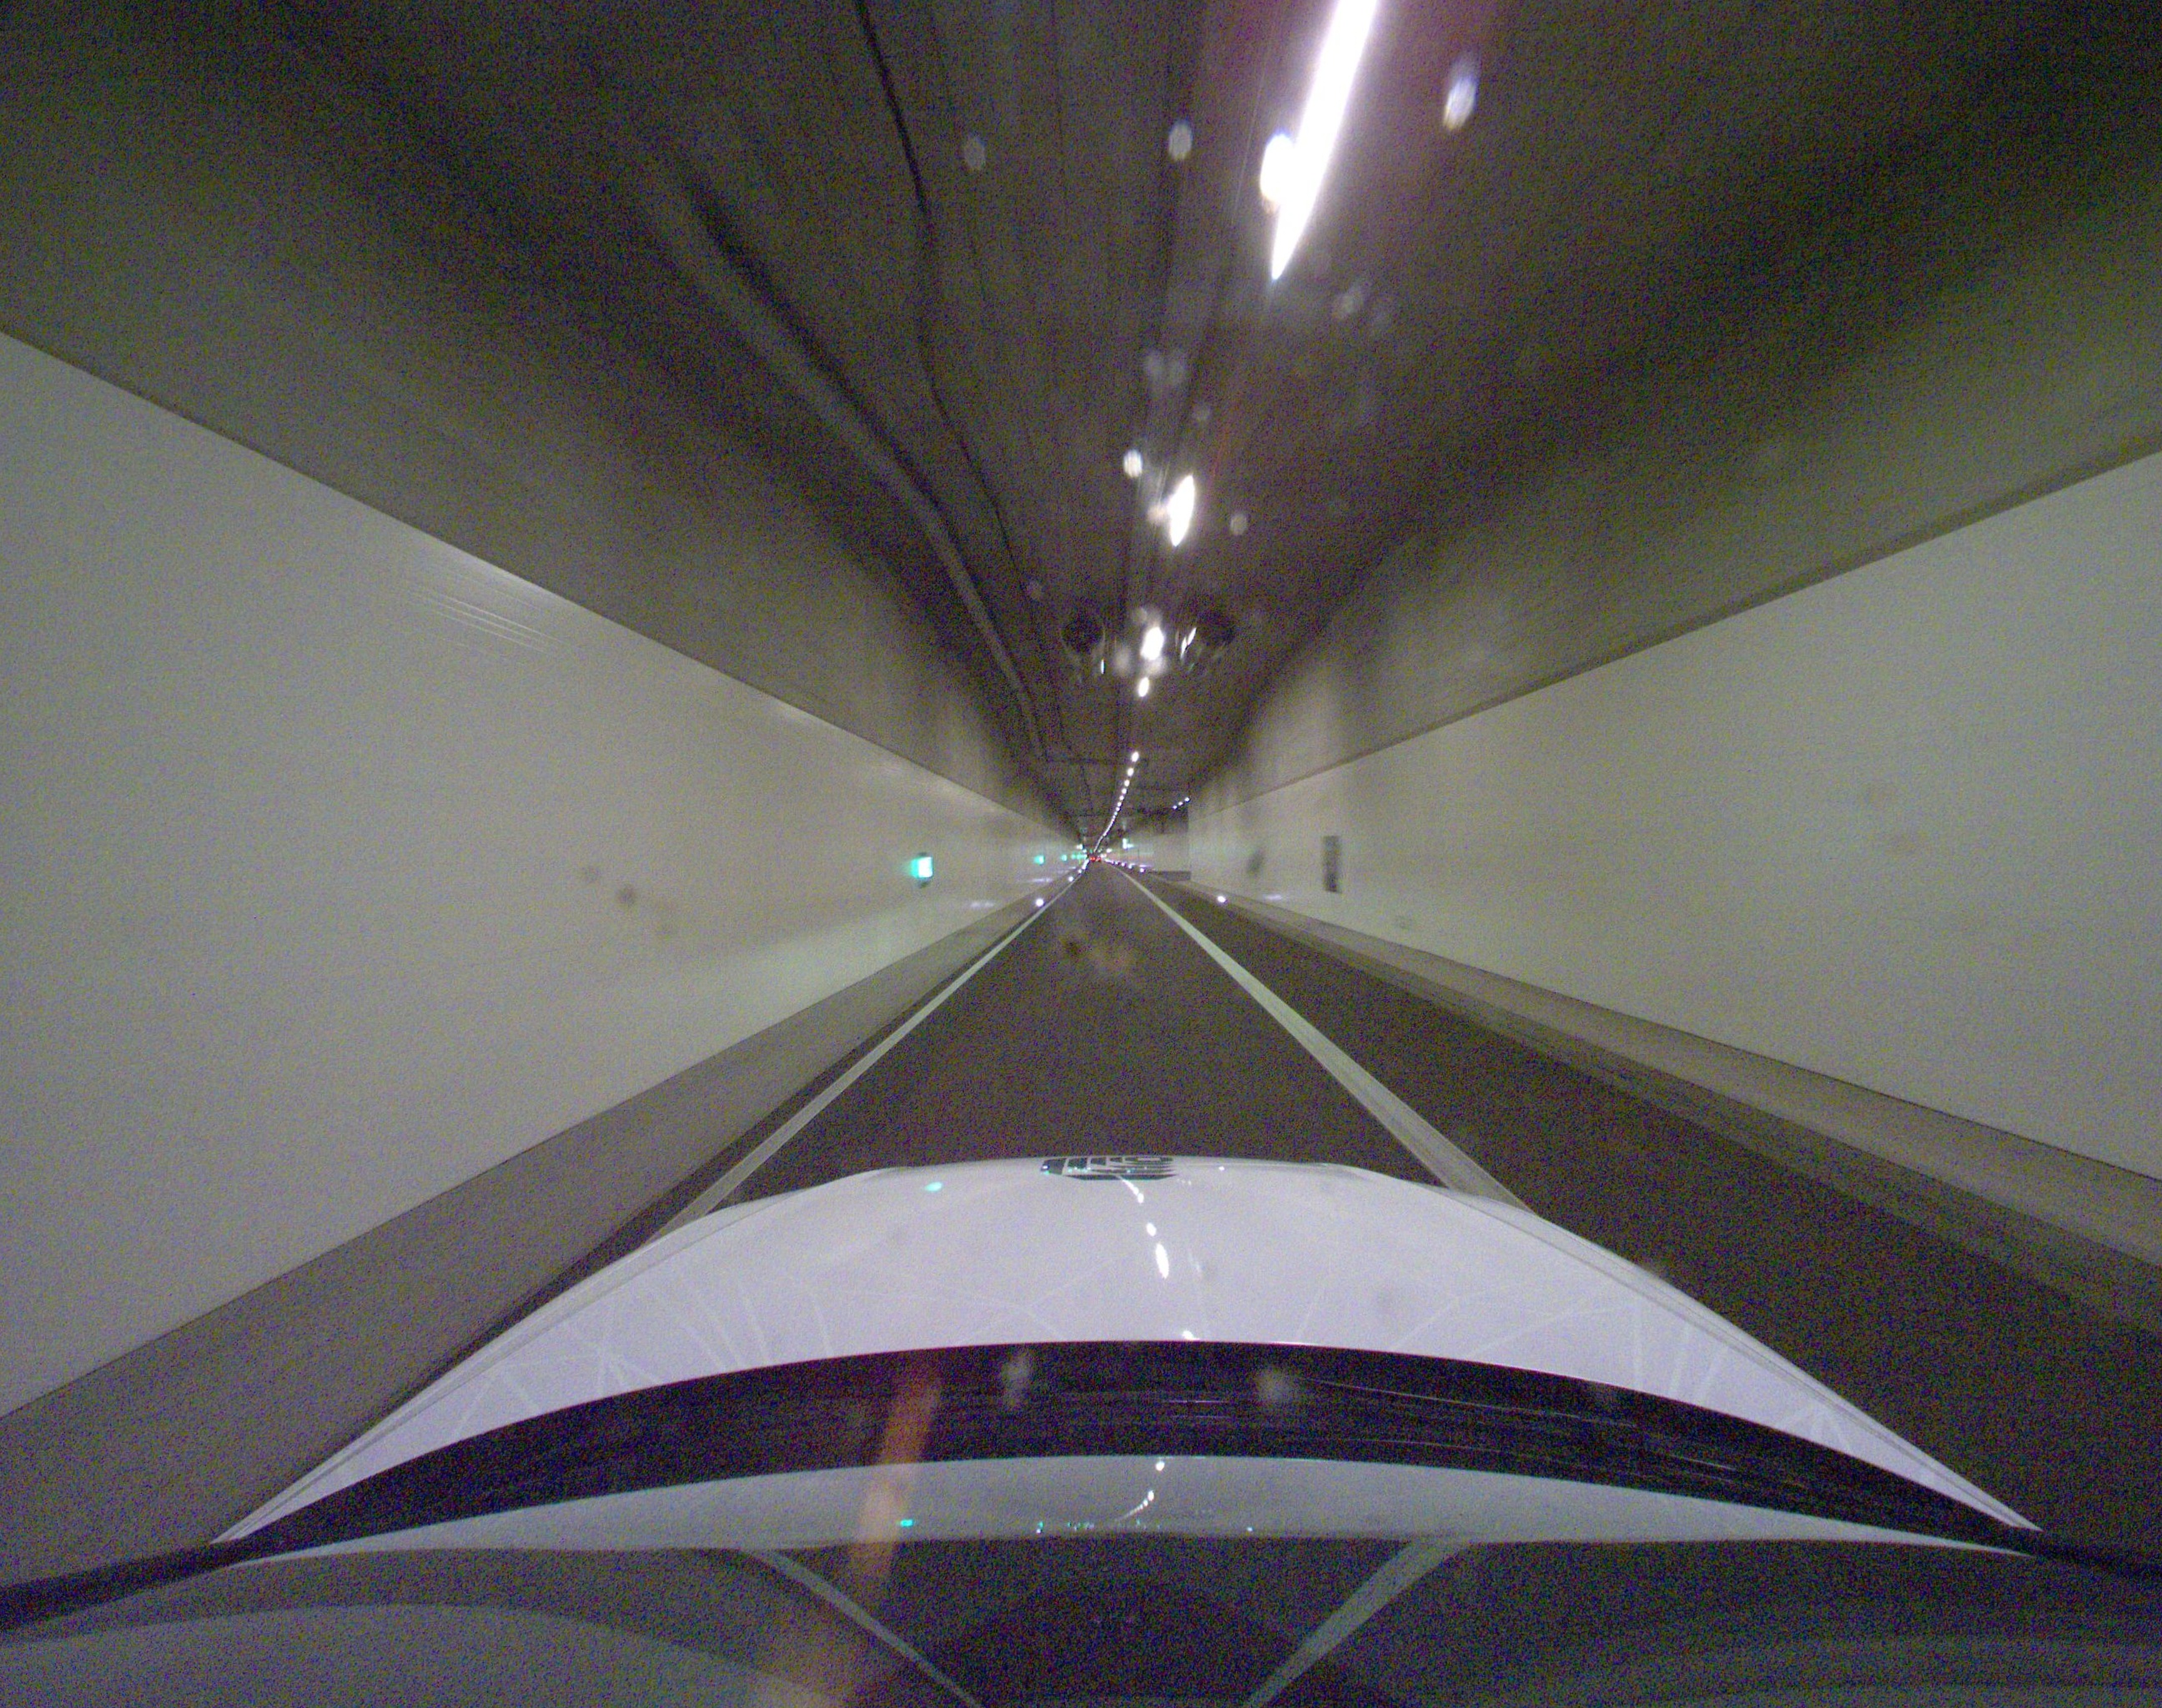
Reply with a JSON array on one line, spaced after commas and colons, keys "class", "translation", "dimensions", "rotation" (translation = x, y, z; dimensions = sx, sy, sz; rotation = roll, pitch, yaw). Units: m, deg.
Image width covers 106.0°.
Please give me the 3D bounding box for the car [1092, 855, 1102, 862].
[{"class": "car", "translation": [3.268, 0.928, 168.262], "dimensions": [1.987, 1.420, 4.000], "rotation": [-4, 0, 0]}]
